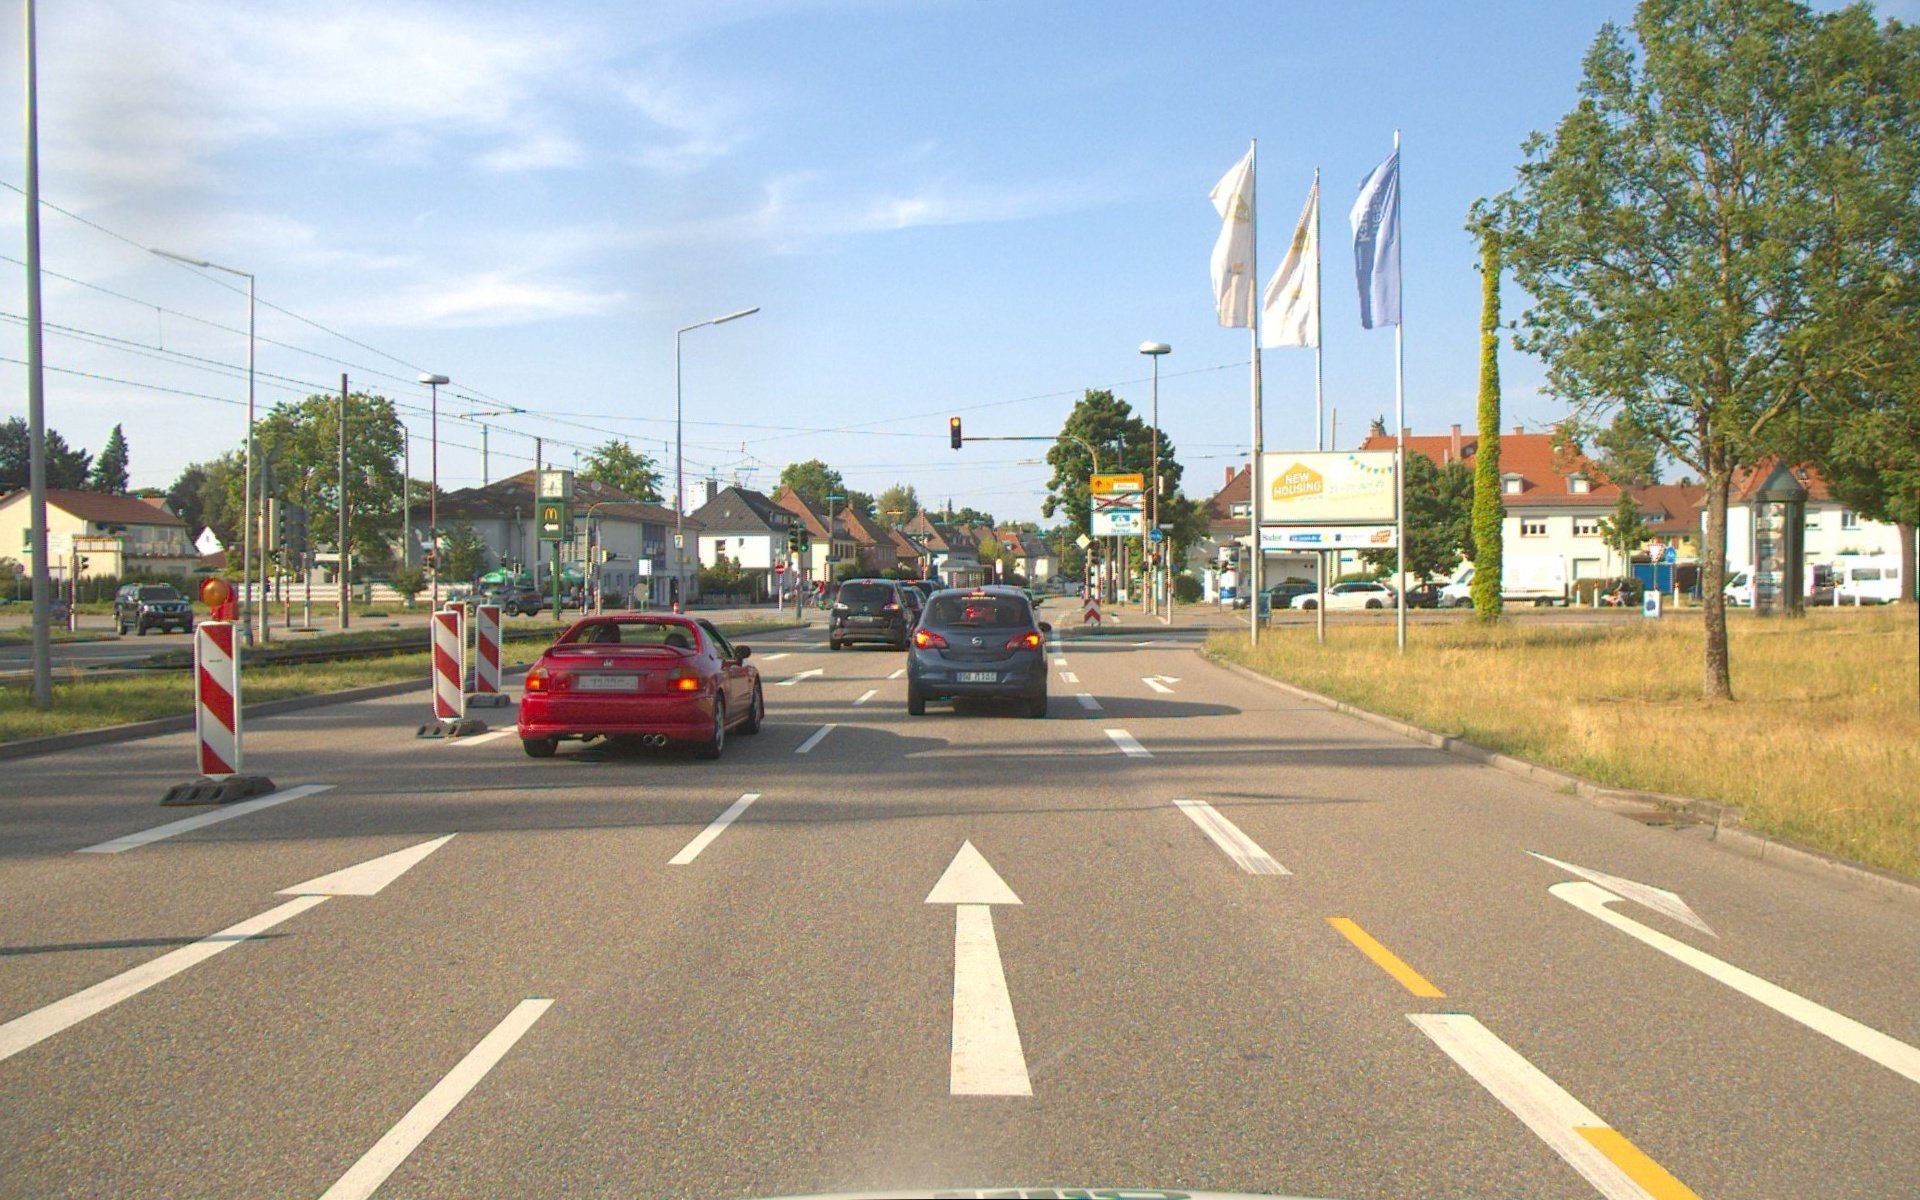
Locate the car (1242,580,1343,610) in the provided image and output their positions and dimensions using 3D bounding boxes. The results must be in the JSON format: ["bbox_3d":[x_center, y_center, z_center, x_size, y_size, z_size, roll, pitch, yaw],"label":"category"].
[{"bbox_3d":[16.421,-0.247,81.805,4.722,1.436,1.717,-1,0,5],"label":"car"}]

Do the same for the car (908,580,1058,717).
[{"bbox_3d":[0.203,0.526,20.955,1.706,1.532,4.221,0,1,-2],"label":"car"}]

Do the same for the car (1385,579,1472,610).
[{"bbox_3d":[22.997,-0.285,81.280,3.902,1.478,1.717,-1,0,5],"label":"car"}]

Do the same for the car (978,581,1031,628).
[{"bbox_3d":[1.457,0.123,53.451,1.622,1.468,4.015,-1,0,2],"label":"car"}]

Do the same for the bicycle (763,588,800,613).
[{"bbox_3d":[-10.284,0.046,95.420,2.033,1.371,1.107,1,0,-5],"label":"bicycle"}]

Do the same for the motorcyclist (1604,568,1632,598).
[{"bbox_3d":[30.372,-0.799,76.313,1.043,1.375,0.680,0,0,4],"label":"motorcyclist"}]

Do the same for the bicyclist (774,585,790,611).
[{"bbox_3d":[-10.286,-0.123,95.423,0.866,1.456,1.136,1,0,-4],"label":"bicyclist"}]

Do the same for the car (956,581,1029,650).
[{"bbox_3d":[0.814,0.341,40.066,1.671,1.579,3.979,-1,0,2],"label":"car"}]

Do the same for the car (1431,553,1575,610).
[{"bbox_3d":[25.393,-0.856,77.524,6.077,2.629,2.001,0,0,5],"label":"car"}]

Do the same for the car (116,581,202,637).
[{"bbox_3d":[-30.904,0.324,63.746,1.979,2.049,5.286,-1,1,-37],"label":"car"}]

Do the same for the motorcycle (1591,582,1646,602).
[{"bbox_3d":[30.379,-0.360,76.319,2.223,0.882,0.691,0,0,4],"label":"motorcycle"}]

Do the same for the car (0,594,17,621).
[{"bbox_3d":[-62.900,0.466,105.995,1.951,1.713,4.223,1,0,11],"label":"car"}]

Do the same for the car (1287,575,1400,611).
[{"bbox_3d":[18.069,-0.334,78.029,4.987,1.590,1.841,-1,0,5],"label":"car"}]

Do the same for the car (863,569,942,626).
[{"bbox_3d":[-1.577,-0.095,46.693,1.664,1.534,4.557,0,1,5],"label":"car"}]

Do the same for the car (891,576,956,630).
[{"bbox_3d":[-1.154,0.062,54.326,1.474,1.680,4.748,-1,0,7],"label":"car"}]

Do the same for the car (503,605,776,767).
[{"bbox_3d":[-2.830,0.708,15.419,1.695,1.227,3.847,1,1,1],"label":"car"}]

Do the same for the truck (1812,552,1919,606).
[{"bbox_3d":[50.748,-1.144,91.652,1.879,2.904,5.987,-1,0,-41],"label":"truck"}]

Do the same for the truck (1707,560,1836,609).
[{"bbox_3d":[44.825,-0.884,91.532,2.246,2.568,6.294,-1,1,-30],"label":"truck"}]

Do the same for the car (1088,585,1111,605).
[{"bbox_3d":[10.714,-0.363,126.944,1.639,1.422,4.002,1,0,5],"label":"car"}]

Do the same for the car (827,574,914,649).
[{"bbox_3d":[-2.076,0.235,39.447,1.727,1.700,4.085,0,1,2],"label":"car"}]

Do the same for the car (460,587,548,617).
[{"bbox_3d":[-23.560,0.093,85.510,3.903,1.512,2.001,-1,0,5],"label":"car"}]
